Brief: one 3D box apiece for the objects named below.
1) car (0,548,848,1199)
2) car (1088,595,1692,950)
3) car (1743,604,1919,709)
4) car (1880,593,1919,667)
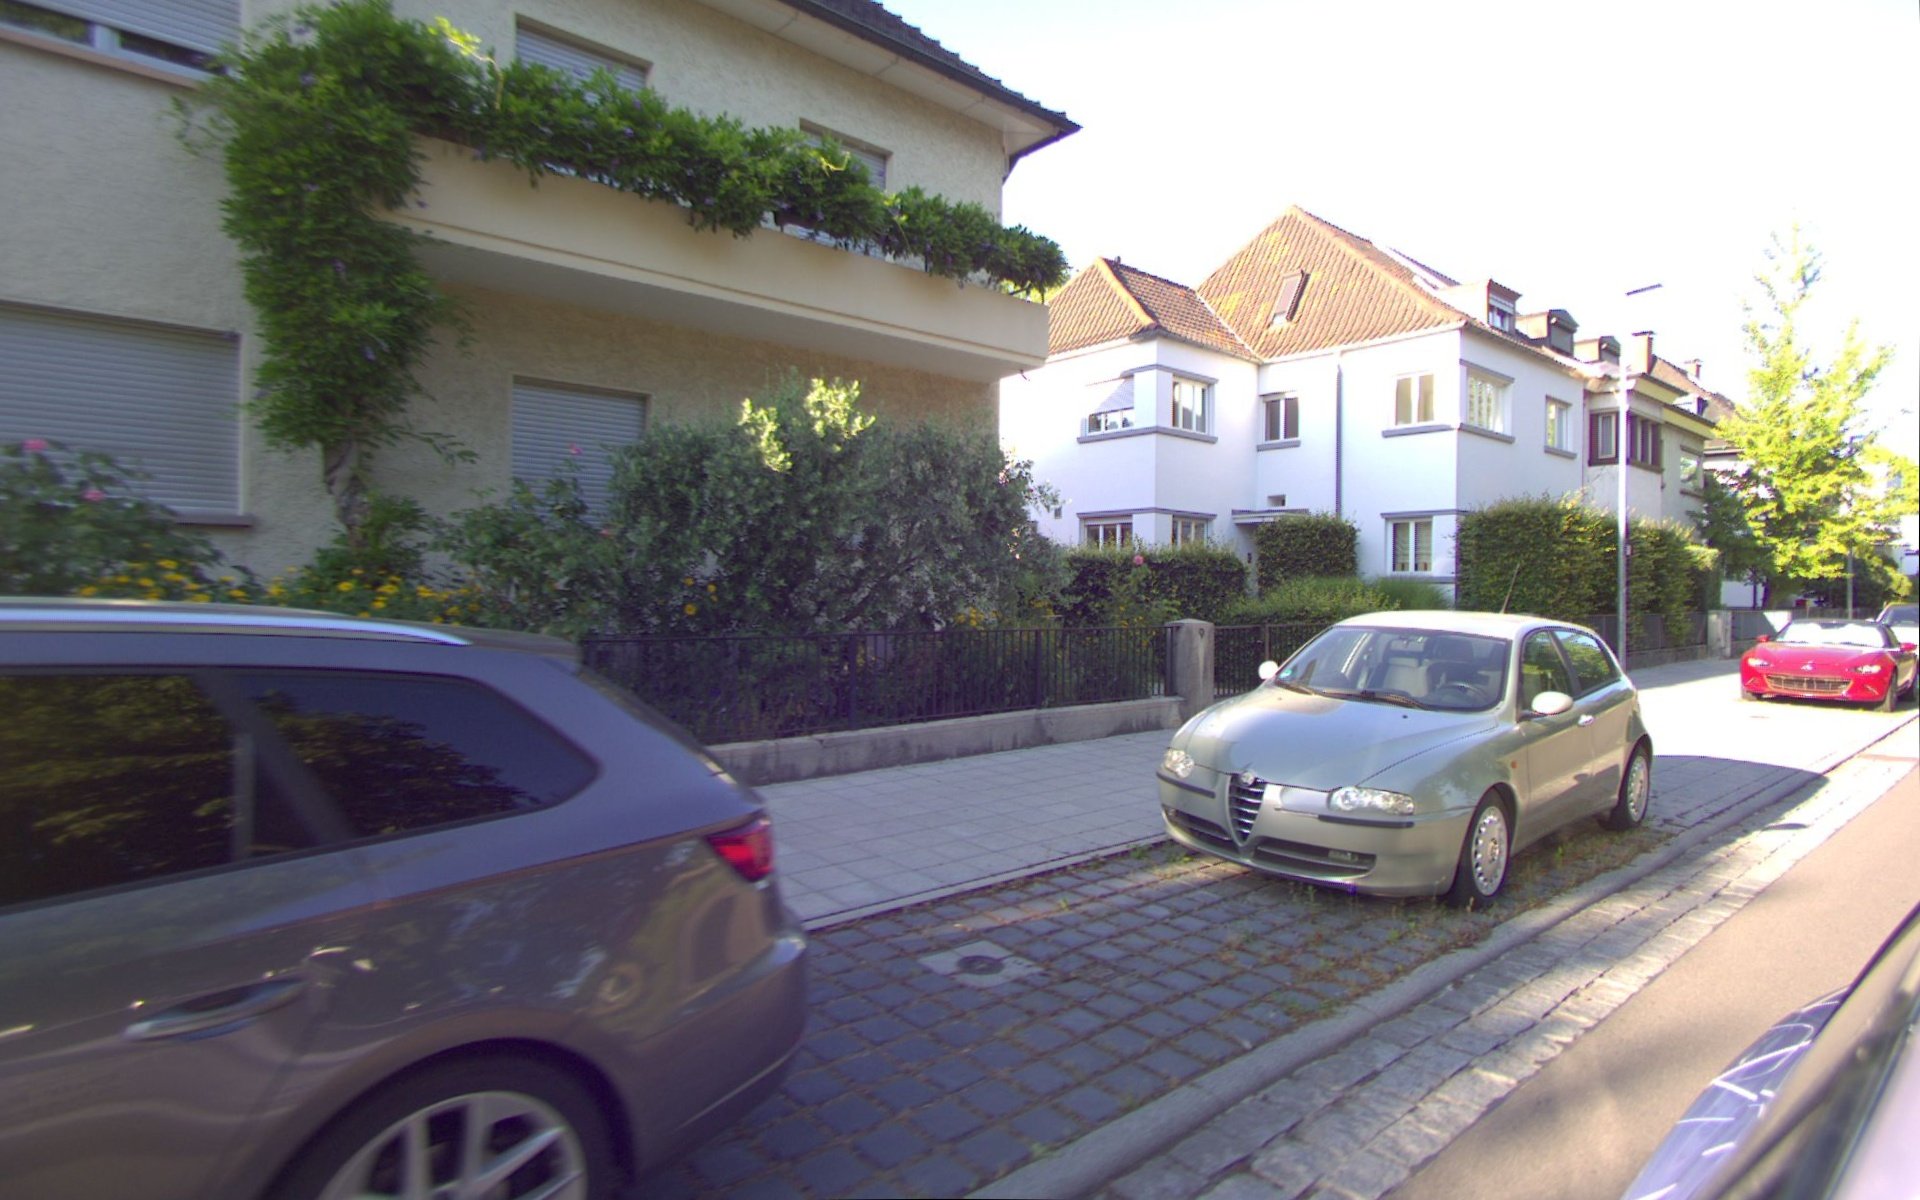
[{"bbox_3d":[-2.405,0.667,1.605,4.120,1.512,1.798,0,3,-41],"label":"car"},{"bbox_3d":[2.822,0.718,6.212,4.007,1.397,1.798,0,3,-41],"label":"car"},{"bbox_3d":[13.315,0.751,15.221,3.812,1.273,1.702,-1,2,-41],"label":"car"},{"bbox_3d":[21.018,0.630,21.653,3.430,1.498,1.508,0,2,-40],"label":"car"}]
